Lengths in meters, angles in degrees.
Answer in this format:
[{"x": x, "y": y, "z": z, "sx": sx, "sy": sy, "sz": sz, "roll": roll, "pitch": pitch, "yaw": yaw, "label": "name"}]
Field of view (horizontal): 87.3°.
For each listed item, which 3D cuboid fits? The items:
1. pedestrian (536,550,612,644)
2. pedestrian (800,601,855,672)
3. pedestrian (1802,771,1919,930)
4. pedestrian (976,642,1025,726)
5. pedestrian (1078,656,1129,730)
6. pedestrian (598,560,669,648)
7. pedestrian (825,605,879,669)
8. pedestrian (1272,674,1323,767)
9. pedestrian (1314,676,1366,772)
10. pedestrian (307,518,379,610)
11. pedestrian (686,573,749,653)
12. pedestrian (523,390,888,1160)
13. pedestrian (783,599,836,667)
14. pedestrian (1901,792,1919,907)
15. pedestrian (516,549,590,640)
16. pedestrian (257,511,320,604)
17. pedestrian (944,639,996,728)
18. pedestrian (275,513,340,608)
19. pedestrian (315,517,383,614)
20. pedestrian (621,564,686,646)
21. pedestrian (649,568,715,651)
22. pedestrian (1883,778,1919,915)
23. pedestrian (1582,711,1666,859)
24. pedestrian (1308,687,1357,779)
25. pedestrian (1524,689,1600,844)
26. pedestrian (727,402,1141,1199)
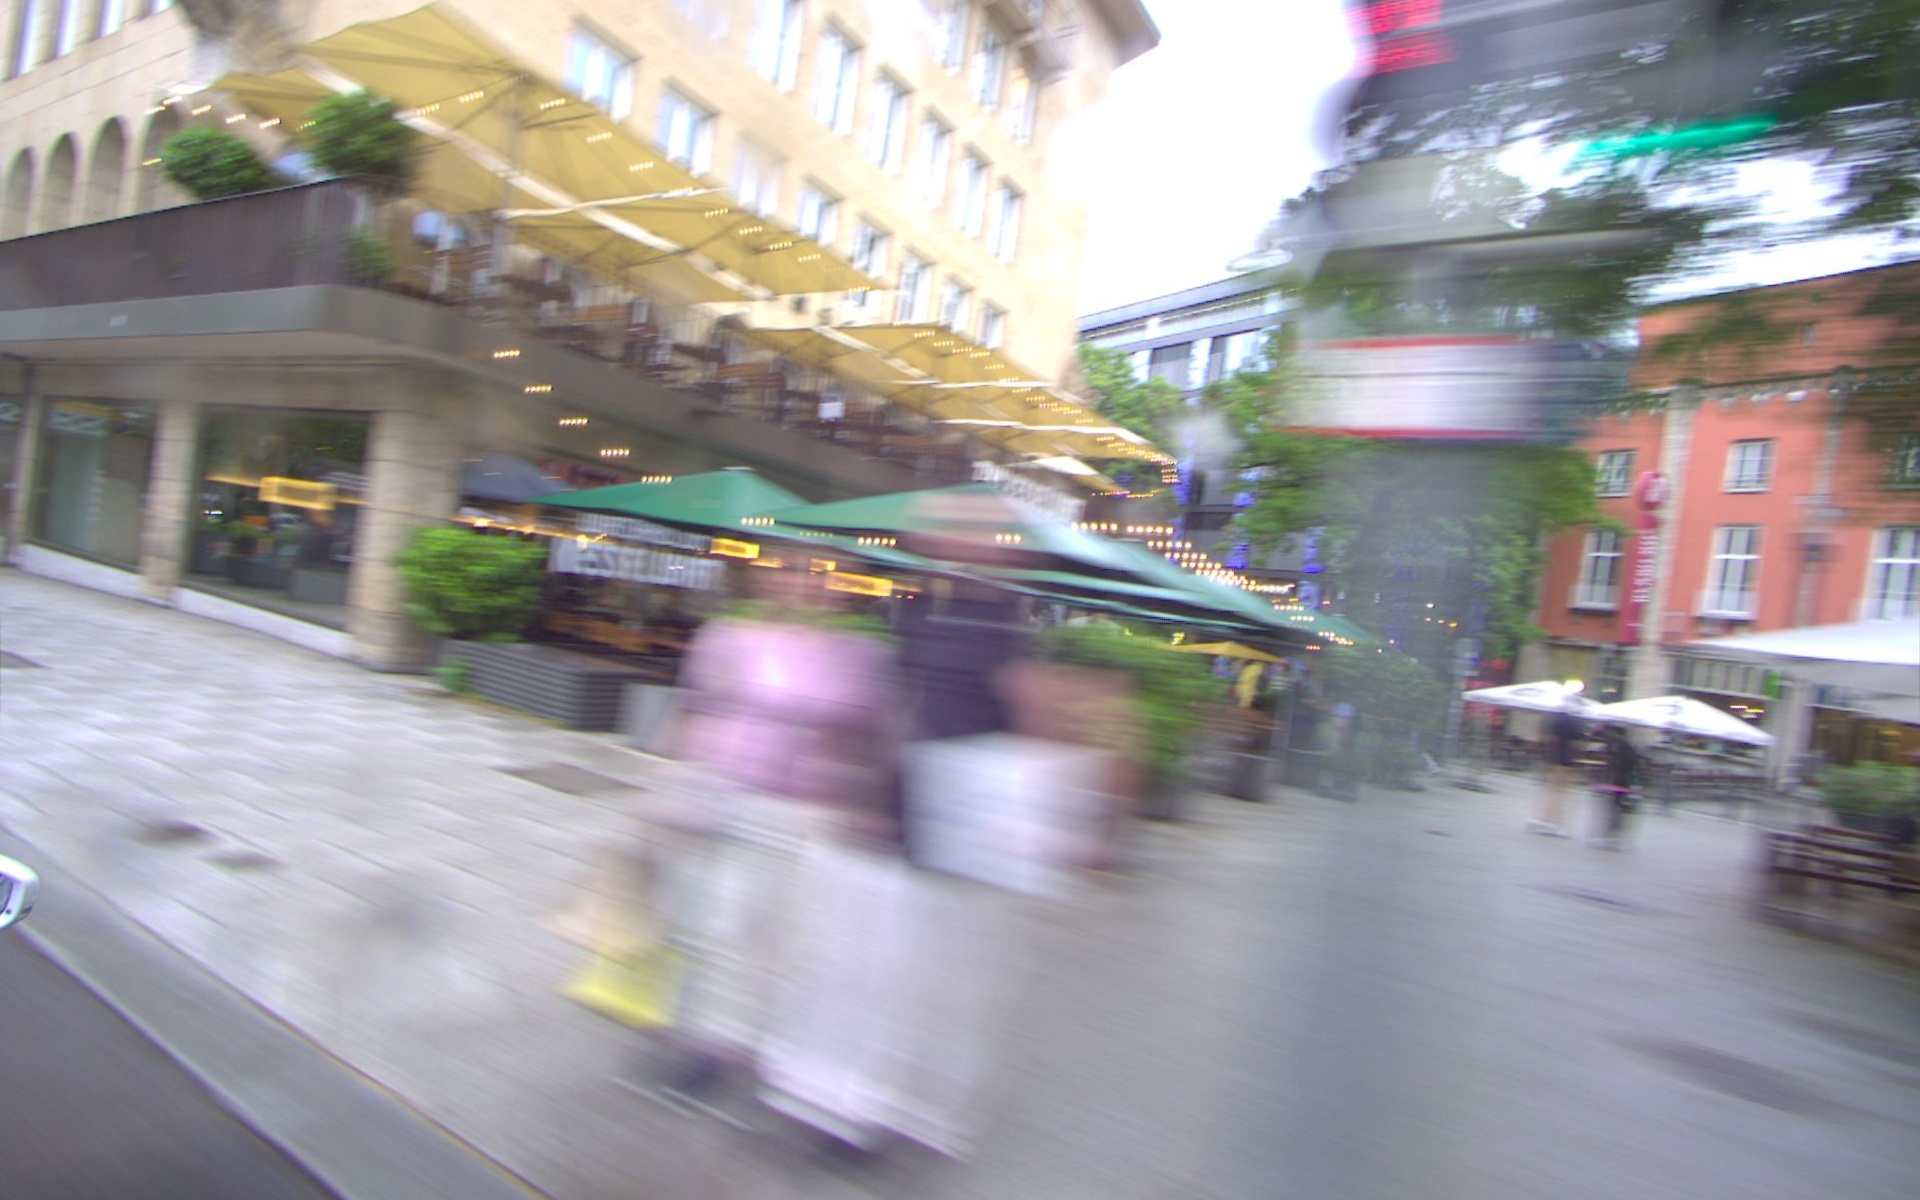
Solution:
[{"x": -4.840, "y": -0.033, "z": 12.615, "sx": 0.536, "sy": 1.068, "sz": 0.555, "roll": 8, "pitch": -1, "yaw": 34, "label": "pedestrian"}, {"x": -2.205, "y": 0.608, "z": 16.752, "sx": 0.536, "sy": 1.068, "sz": 0.555, "roll": 8, "pitch": -1, "yaw": 34, "label": "pedestrian"}, {"x": 9.259, "y": 2.498, "z": 10.098, "sx": 0.634, "sy": 1.342, "sz": 0.941, "roll": 9, "pitch": -1, "yaw": -24, "label": "pedestrian"}, {"x": 0.688, "y": 1.418, "z": 16.919, "sx": 0.418, "sy": 1.337, "sz": 0.648, "roll": 8, "pitch": -1, "yaw": 28, "label": "pedestrian"}, {"x": 2.888, "y": 1.876, "z": 20.244, "sx": 0.615, "sy": 1.383, "sz": 0.738, "roll": 8, "pitch": -1, "yaw": 28, "label": "pedestrian"}, {"x": -4.365, "y": 0.054, "z": 13.461, "sx": 0.536, "sy": 1.068, "sz": 0.555, "roll": 8, "pitch": -1, "yaw": 34, "label": "pedestrian"}, {"x": -1.996, "y": 0.690, "z": 18.637, "sx": 0.641, "sy": 1.068, "sz": 0.555, "roll": 8, "pitch": -1, "yaw": 34, "label": "pedestrian"}, {"x": 6.454, "y": 2.298, "z": 19.200, "sx": 0.615, "sy": 1.661, "sz": 0.672, "roll": 8, "pitch": -1, "yaw": 28, "label": "pedestrian"}, {"x": 7.065, "y": 2.302, "z": 18.682, "sx": 0.615, "sy": 1.661, "sz": 0.677, "roll": 8, "pitch": -1, "yaw": 28, "label": "pedestrian"}, {"x": -7.961, "y": -0.460, "z": 12.986, "sx": 0.530, "sy": 1.085, "sz": 0.434, "roll": 8, "pitch": 0, "yaw": 19, "label": "pedestrian"}, {"x": -3.562, "y": 0.198, "z": 14.785, "sx": 0.536, "sy": 1.068, "sz": 0.555, "roll": 8, "pitch": -1, "yaw": 34, "label": "pedestrian"}, {"x": -0.665, "y": 0.441, "z": 2.819, "sx": 0.617, "sy": 1.856, "sz": 0.592, "roll": 7, "pitch": 0, "yaw": 5, "label": "pedestrian"}, {"x": -2.626, "y": 0.577, "z": 17.566, "sx": 0.536, "sy": 1.068, "sz": 0.555, "roll": 8, "pitch": -1, "yaw": 34, "label": "pedestrian"}, {"x": 11.062, "y": 2.836, "z": 11.192, "sx": 0.627, "sy": 1.254, "sz": 0.572, "roll": 9, "pitch": -1, "yaw": -27, "label": "pedestrian"}, {"x": -5.276, "y": -0.073, "z": 13.061, "sx": 0.536, "sy": 1.068, "sz": 0.555, "roll": 8, "pitch": -1, "yaw": 34, "label": "pedestrian"}, {"x": -8.418, "y": -0.531, "z": 12.611, "sx": 0.471, "sy": 1.085, "sz": 0.330, "roll": 8, "pitch": 0, "yaw": 23, "label": "pedestrian"}, {"x": 0.163, "y": 1.333, "z": 15.997, "sx": 0.418, "sy": 1.337, "sz": 0.648, "roll": 8, "pitch": -1, "yaw": 28, "label": "pedestrian"}, {"x": -7.960, "y": -0.480, "z": 12.277, "sx": 0.471, "sy": 1.085, "sz": 0.330, "roll": 8, "pitch": 0, "yaw": 23, "label": "pedestrian"}, {"x": -7.359, "y": -0.414, "z": 12.138, "sx": 0.539, "sy": 1.068, "sz": 0.406, "roll": 9, "pitch": 0, "yaw": -27, "label": "pedestrian"}, {"x": -4.434, "y": 0.076, "z": 14.558, "sx": 0.536, "sy": 1.068, "sz": 0.555, "roll": 8, "pitch": -1, "yaw": 34, "label": "pedestrian"}, {"x": -3.933, "y": 0.134, "z": 14.244, "sx": 0.536, "sy": 1.068, "sz": 0.555, "roll": 8, "pitch": -1, "yaw": 34, "label": "pedestrian"}, {"x": 10.199, "y": 2.598, "z": 10.399, "sx": 0.711, "sy": 1.342, "sz": 0.637, "roll": 9, "pitch": -1, "yaw": -27, "label": "pedestrian"}, {"x": 8.349, "y": 2.299, "z": 12.680, "sx": 0.615, "sy": 1.700, "sz": 0.849, "roll": 8, "pitch": -1, "yaw": 28, "label": "pedestrian"}, {"x": 7.238, "y": 2.577, "z": 19.543, "sx": 0.615, "sy": 1.661, "sz": 0.677, "roll": 8, "pitch": -1, "yaw": 28, "label": "pedestrian"}, {"x": 7.960, "y": 2.185, "z": 13.330, "sx": 0.621, "sy": 1.911, "sz": 0.465, "roll": 8, "pitch": -1, "yaw": 28, "label": "pedestrian"}, {"x": -0.044, "y": 0.515, "z": 2.519, "sx": 0.554, "sy": 1.856, "sz": 0.633, "roll": 7, "pitch": 0, "yaw": 36, "label": "pedestrian"}]
